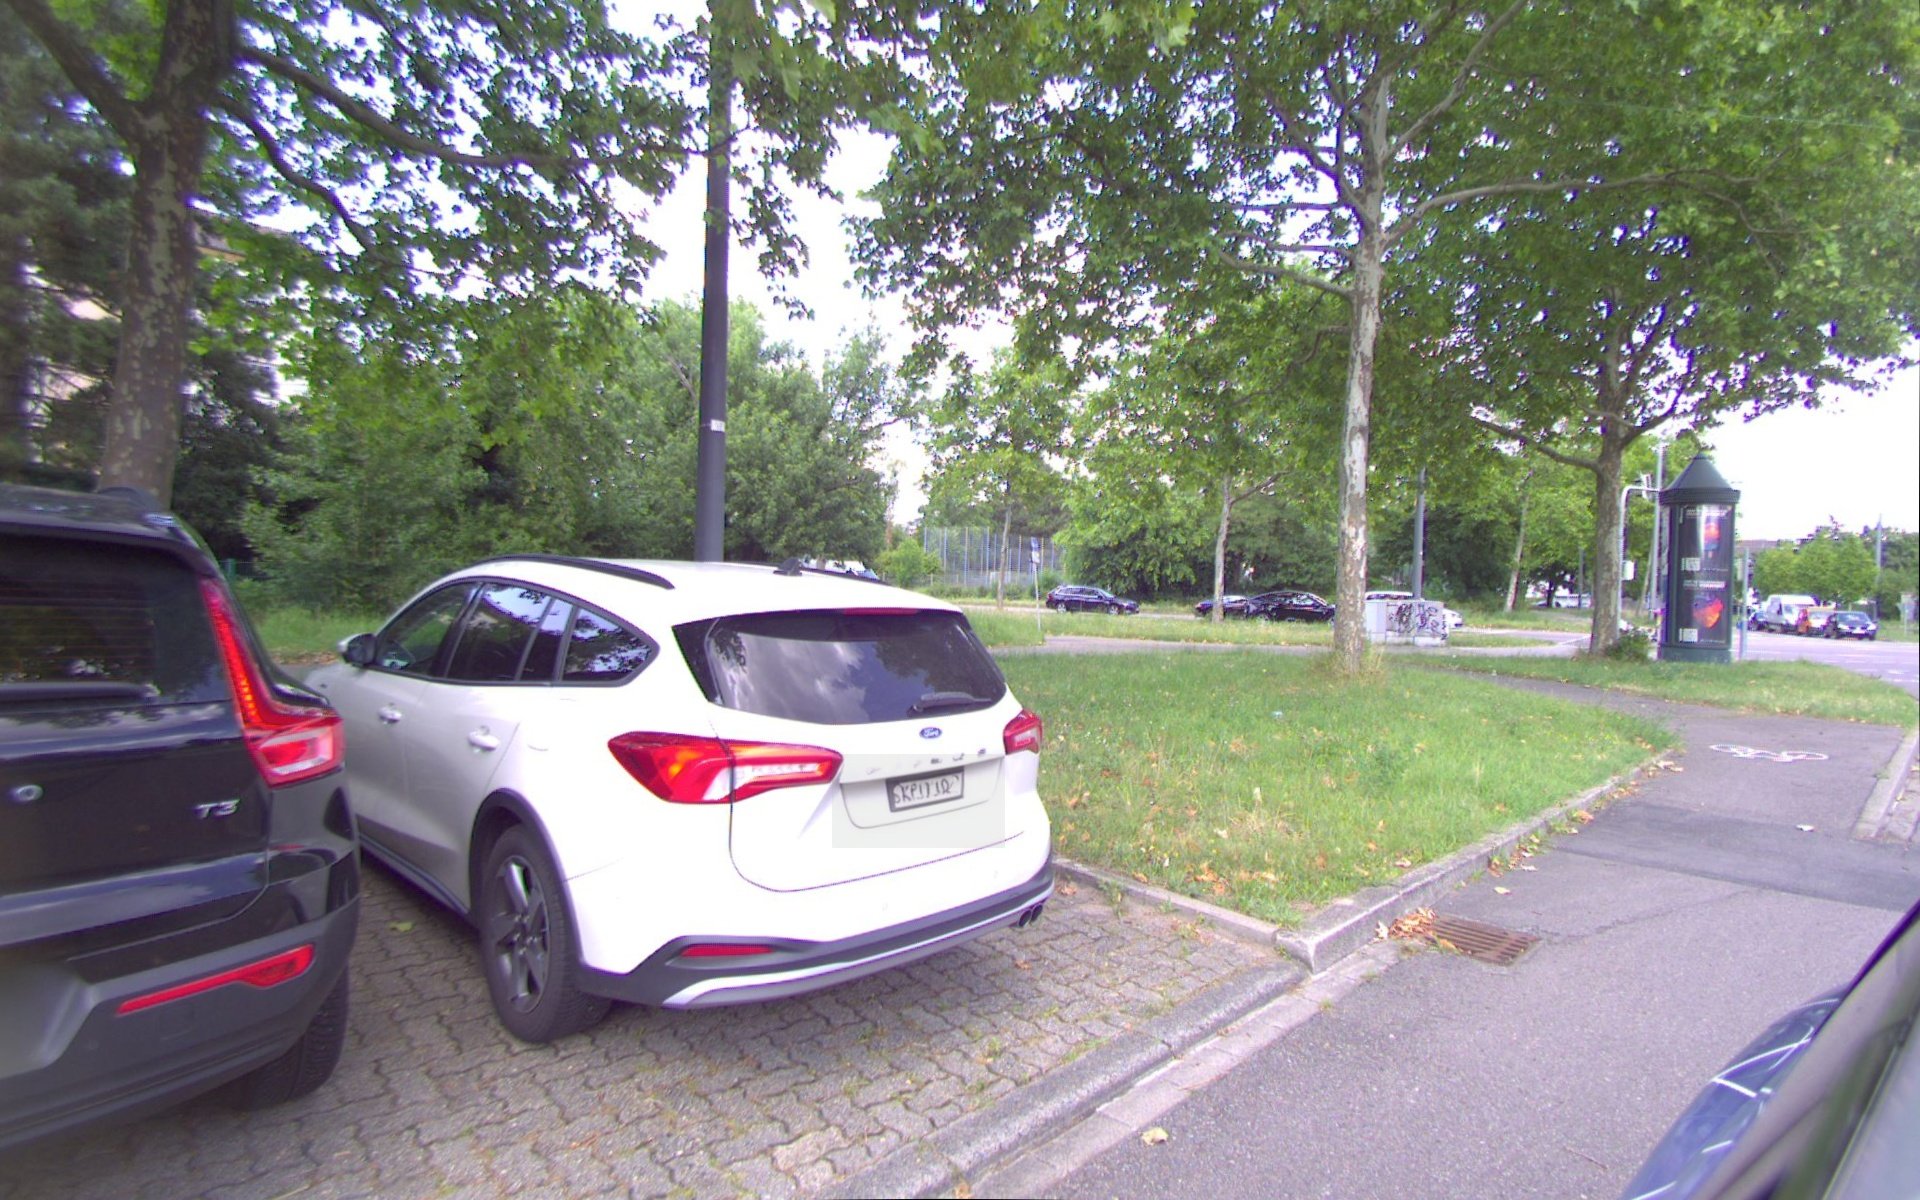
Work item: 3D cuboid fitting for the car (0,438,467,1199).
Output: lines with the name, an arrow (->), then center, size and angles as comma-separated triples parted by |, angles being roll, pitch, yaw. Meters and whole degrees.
car -> -3.360, 0.437, 3.176 | 1.818, 1.646, 4.662 | 1, 2, -45

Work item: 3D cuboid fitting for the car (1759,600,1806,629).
car -> 59.112, 0.987, 72.763 | 1.780, 1.959, 4.325 | 1, 1, 28

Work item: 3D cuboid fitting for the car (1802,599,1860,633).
car -> 53.332, 0.961, 62.068 | 1.780, 1.959, 4.324 | 1, 1, 29

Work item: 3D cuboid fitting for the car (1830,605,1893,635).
car -> 50.492, 1.109, 56.735 | 1.781, 1.558, 3.958 | 1, 1, 29

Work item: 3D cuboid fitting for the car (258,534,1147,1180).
car -> -1.630, 0.504, 4.662 | 1.818, 1.492, 4.662 | 1, 2, -45

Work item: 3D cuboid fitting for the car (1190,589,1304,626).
car -> 13.198, 0.293, 46.603 | 4.706, 1.487, 1.981 | 2, 2, 28

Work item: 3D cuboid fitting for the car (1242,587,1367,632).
car -> 14.305, 0.354, 42.119 | 4.645, 1.630, 1.980 | 2, 2, 29

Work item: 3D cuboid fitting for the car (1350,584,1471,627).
car -> 19.424, 0.196, 43.692 | 4.644, 1.630, 1.981 | 2, 2, 28

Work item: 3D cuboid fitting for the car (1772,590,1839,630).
car -> 56.474, 0.646, 67.737 | 2.219, 2.538, 5.670 | 1, 1, 28

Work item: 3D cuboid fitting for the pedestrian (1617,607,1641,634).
pedestrian -> 27.262, 0.828, 41.236 | 0.716, 1.047, 0.893 | 2, 1, 28

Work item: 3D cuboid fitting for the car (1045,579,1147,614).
car -> 6.770, -0.218, 50.454 | 4.644, 1.532, 1.981 | 2, 2, 28

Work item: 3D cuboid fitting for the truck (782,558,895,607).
truck -> -7.089, -1.053, 58.724 | 6.452, 2.628, 2.194 | 2, 1, 29
